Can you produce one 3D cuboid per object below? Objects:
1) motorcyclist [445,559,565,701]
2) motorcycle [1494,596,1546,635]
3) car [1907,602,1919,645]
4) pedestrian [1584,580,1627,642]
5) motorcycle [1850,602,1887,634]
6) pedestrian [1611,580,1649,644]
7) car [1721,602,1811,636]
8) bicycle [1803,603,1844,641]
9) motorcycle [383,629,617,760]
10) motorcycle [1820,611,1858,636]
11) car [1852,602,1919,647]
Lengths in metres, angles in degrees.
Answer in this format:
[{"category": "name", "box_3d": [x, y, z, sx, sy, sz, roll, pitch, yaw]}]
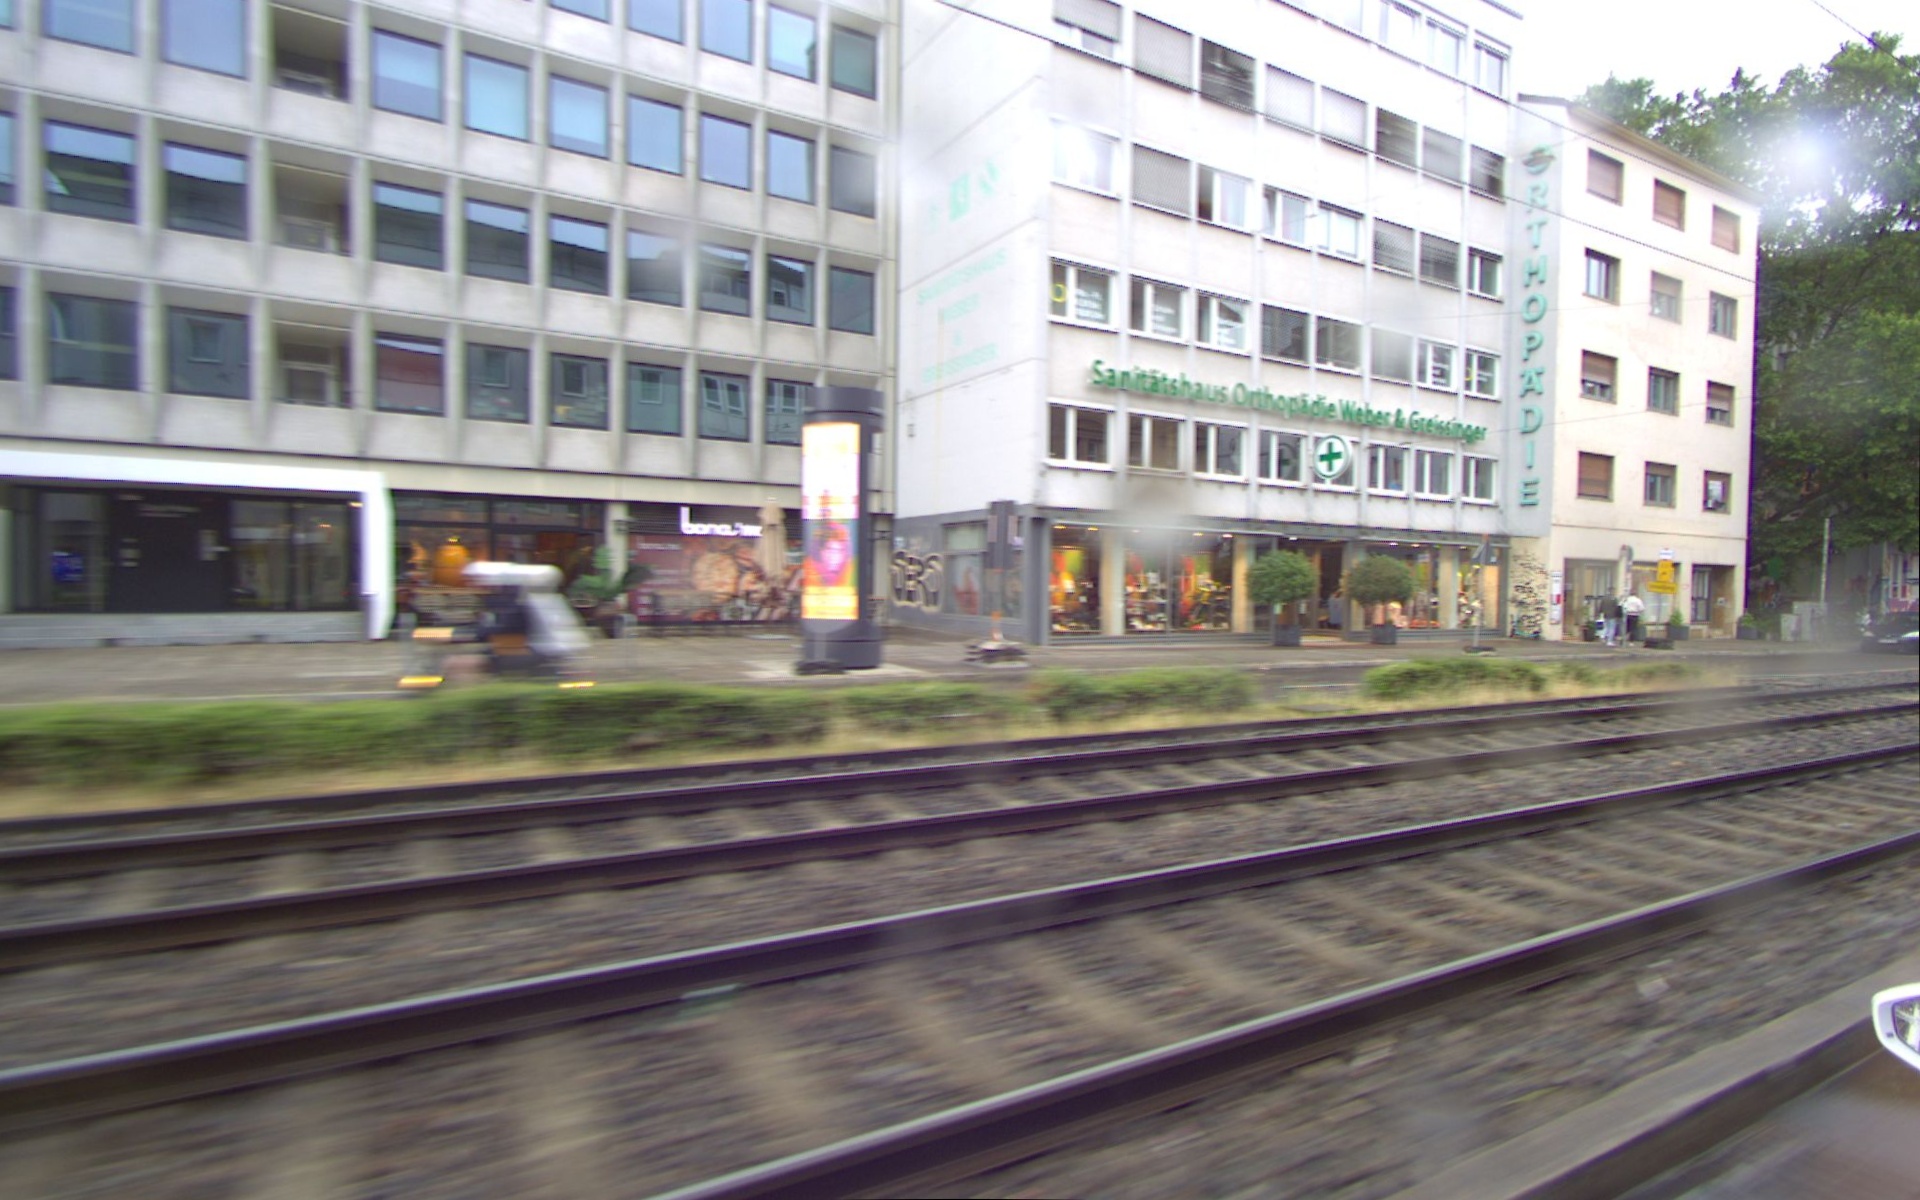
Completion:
[{"category": "motorcyclist", "box_3d": [-4.228, 0.259, 9.311, 0.958, 1.234, 0.738, 1, 1, -29]}, {"category": "motorcycle", "box_3d": [17.969, 0.494, 32.255, 0.381, 1.196, 1.469, 0, 2, -31]}, {"category": "car", "box_3d": [37.477, 0.903, 37.704, 4.171, 1.591, 1.713, 0, 2, -31]}, {"category": "pedestrian", "box_3d": [20.238, 0.345, 31.475, 0.971, 1.921, 0.723, 1, 1, -31]}, {"category": "motorcycle", "box_3d": [40.264, 0.793, 44.509, 2.096, 1.398, 0.635, 0, 2, -32]}, {"category": "pedestrian", "box_3d": [20.577, 0.366, 30.849, 0.734, 1.921, 0.675, 0, 1, -30]}, {"category": "car", "box_3d": [36.636, 0.824, 45.656, 3.955, 1.474, 1.983, 0, 0, -32]}, {"category": "bicycle", "box_3d": [30.194, 0.761, 35.108, 2.382, 1.243, 0.586, 1, 1, -38]}, {"category": "motorcycle", "box_3d": [-4.245, 0.826, 9.333, 1.908, 1.074, 0.739, 1, 1, -29]}, {"category": "motorcycle", "box_3d": [37.903, 1.016, 43.318, 2.096, 1.047, 0.635, 0, 2, -32]}, {"category": "car", "box_3d": [33.299, 0.821, 35.307, 4.171, 1.488, 1.735, 0, 0, -31]}]
